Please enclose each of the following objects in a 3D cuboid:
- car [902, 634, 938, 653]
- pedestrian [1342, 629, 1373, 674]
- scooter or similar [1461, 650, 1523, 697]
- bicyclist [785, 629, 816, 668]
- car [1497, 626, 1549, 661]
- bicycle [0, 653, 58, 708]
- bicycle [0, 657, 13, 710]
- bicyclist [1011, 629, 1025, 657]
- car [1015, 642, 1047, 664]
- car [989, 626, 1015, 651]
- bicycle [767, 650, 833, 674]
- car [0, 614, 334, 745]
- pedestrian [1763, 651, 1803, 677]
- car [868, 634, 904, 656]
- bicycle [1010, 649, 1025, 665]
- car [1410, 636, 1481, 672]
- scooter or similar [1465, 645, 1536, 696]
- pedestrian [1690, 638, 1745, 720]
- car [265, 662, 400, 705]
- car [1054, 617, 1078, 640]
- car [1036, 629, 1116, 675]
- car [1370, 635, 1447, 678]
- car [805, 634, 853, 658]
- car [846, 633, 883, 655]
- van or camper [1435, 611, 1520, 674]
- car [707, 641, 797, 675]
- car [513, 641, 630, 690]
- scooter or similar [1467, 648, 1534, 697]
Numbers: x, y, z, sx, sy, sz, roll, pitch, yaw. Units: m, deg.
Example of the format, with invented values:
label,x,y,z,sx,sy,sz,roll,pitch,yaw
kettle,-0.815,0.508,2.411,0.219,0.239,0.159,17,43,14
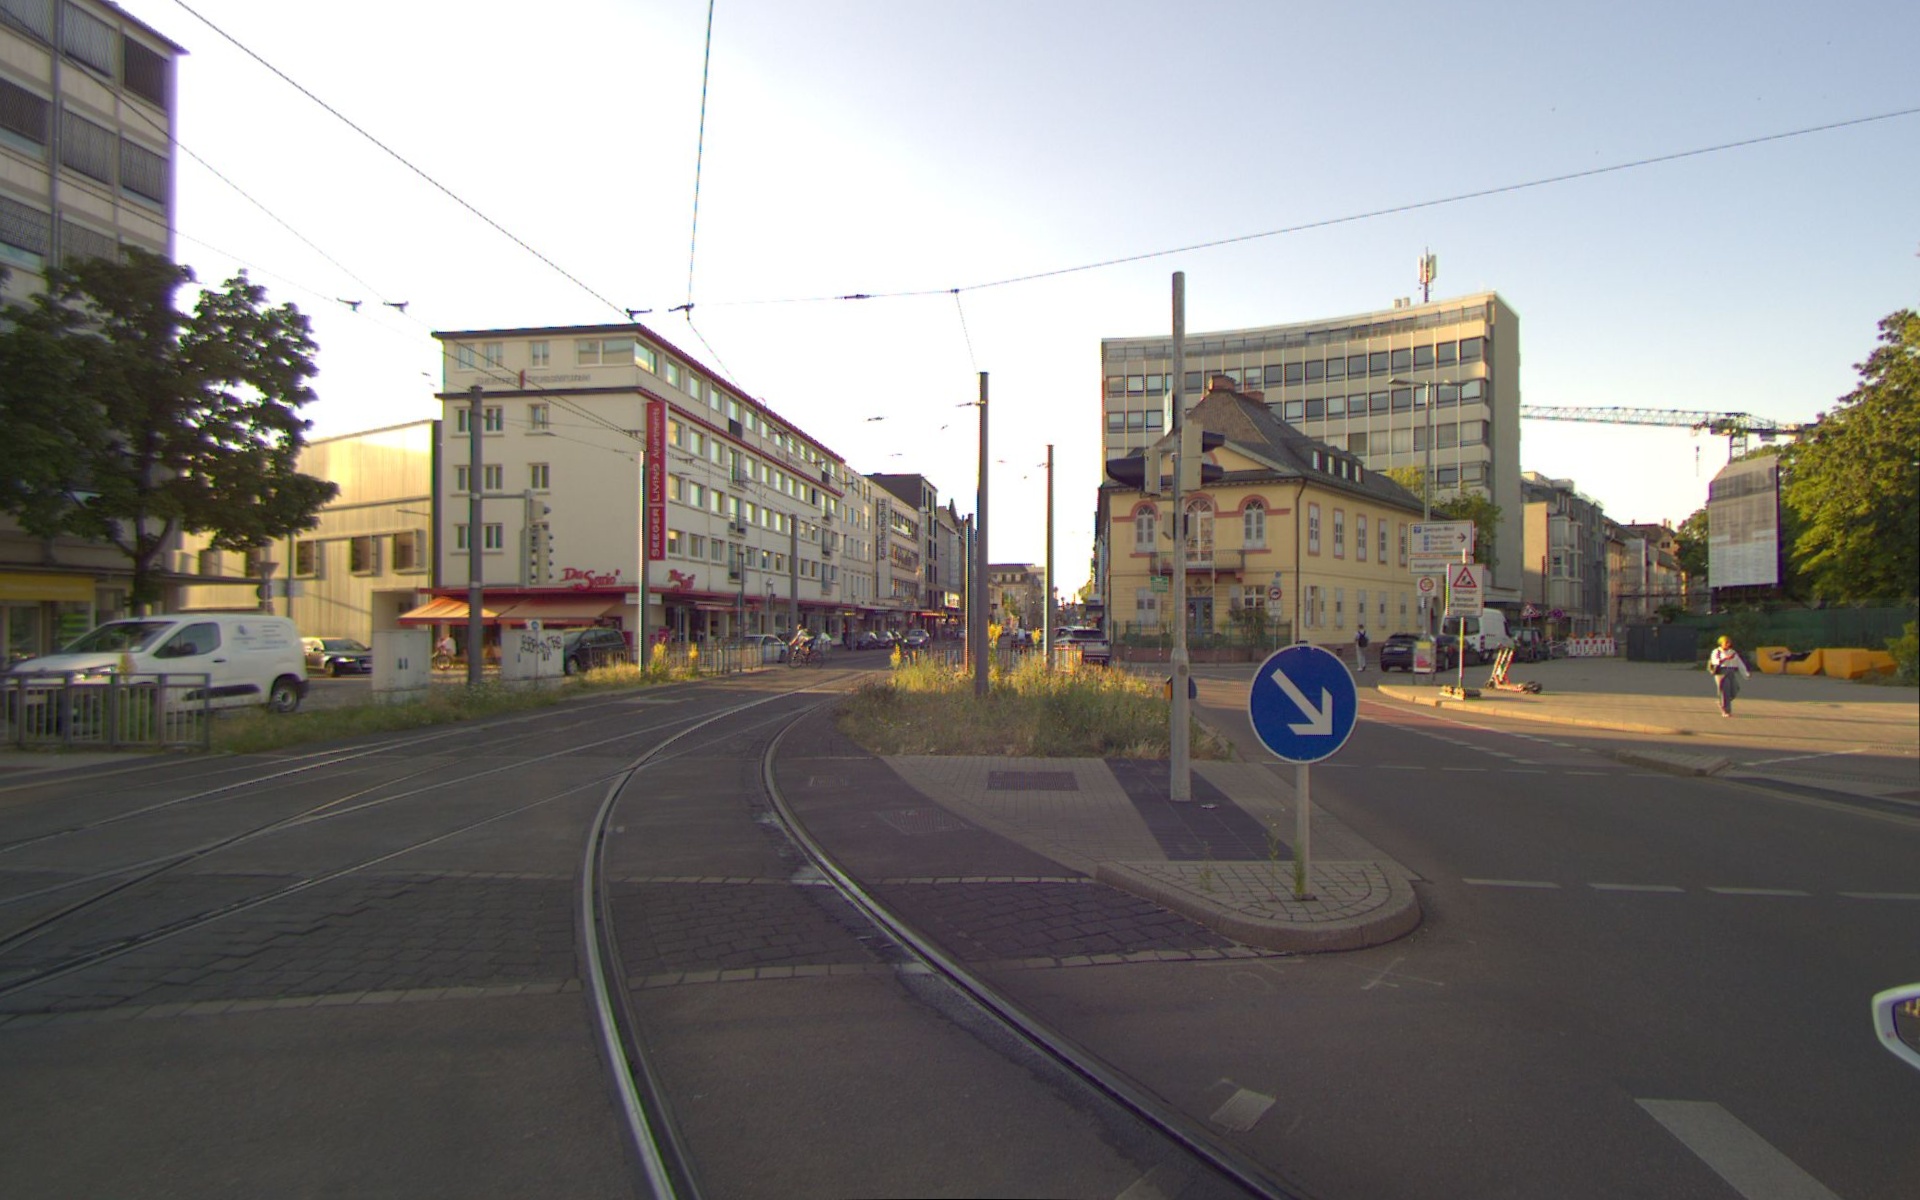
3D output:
label,x,y,z,sx,sy,sz,roll,pitch,yaw
car,-3.404,3.700,85.975,2.160,1.580,4.283,0,-2,11
pedestrian,15.480,1.997,39.160,0.867,1.747,0.824,0,-2,45
scooter or similar,14.133,1.937,26.688,0.457,1.181,1.388,1,-2,-40
bicyclist,-6.103,1.862,38.485,0.912,1.460,0.836,0,-2,13
car,30.821,2.360,54.952,1.693,1.873,4.001,-1,-2,42
bicycle,-21.655,1.836,22.998,1.604,1.200,0.539,1,-1,7
bicycle,-21.996,1.820,22.057,1.711,1.155,0.667,1,-2,0
bicyclist,3.362,2.495,58.348,0.815,1.589,0.788,0,-2,5
car,5.506,4.059,77.434,1.960,1.536,4.418,-3,-2,10
car,3.251,2.910,77.322,1.777,1.833,4.002,-1,-1,6
bicycle,-6.124,2.366,38.476,2.373,0.858,0.847,0,-2,13
car,-13.155,1.201,16.813,1.960,1.862,4.879,0,-2,6
pedestrian,29.497,2.279,36.002,0.552,0.905,0.979,1,-2,-12
car,-6.321,3.878,86.376,1.959,1.687,4.643,3,-2,10
bicycle,3.358,3.317,58.272,0.815,0.881,2.551,0,-2,5
car,20.871,2.288,43.094,1.709,1.448,4.452,-1,-2,40
scooter or similar,14.584,1.894,27.124,0.458,1.309,1.633,2,-2,-41
pedestrian,15.430,1.604,20.474,0.676,1.634,0.597,0,-1,11
car,-23.129,3.060,37.045,4.284,1.455,1.738,0,-2,14
car,8.072,2.172,76.763,1.702,1.731,3.808,0,-2,5
car,4.443,1.975,39.262,1.914,1.683,4.528,0,-2,-10
car,17.665,2.174,39.483,1.757,1.564,4.272,-1,-2,39
car,-8.811,3.060,67.712,1.959,1.484,4.405,-1,-2,10
car,-7.632,3.523,80.579,1.959,1.687,4.003,0,-2,10
van or camper,24.574,2.004,47.562,2.054,2.811,6.415,-1,-2,42
car,-9.786,2.702,47.676,2.001,1.460,4.660,-1,-2,21
car,-13.634,2.258,35.574,1.959,1.594,4.306,0,-2,8
scooter or similar,14.890,1.977,27.683,0.607,1.276,1.508,2,-2,-41
